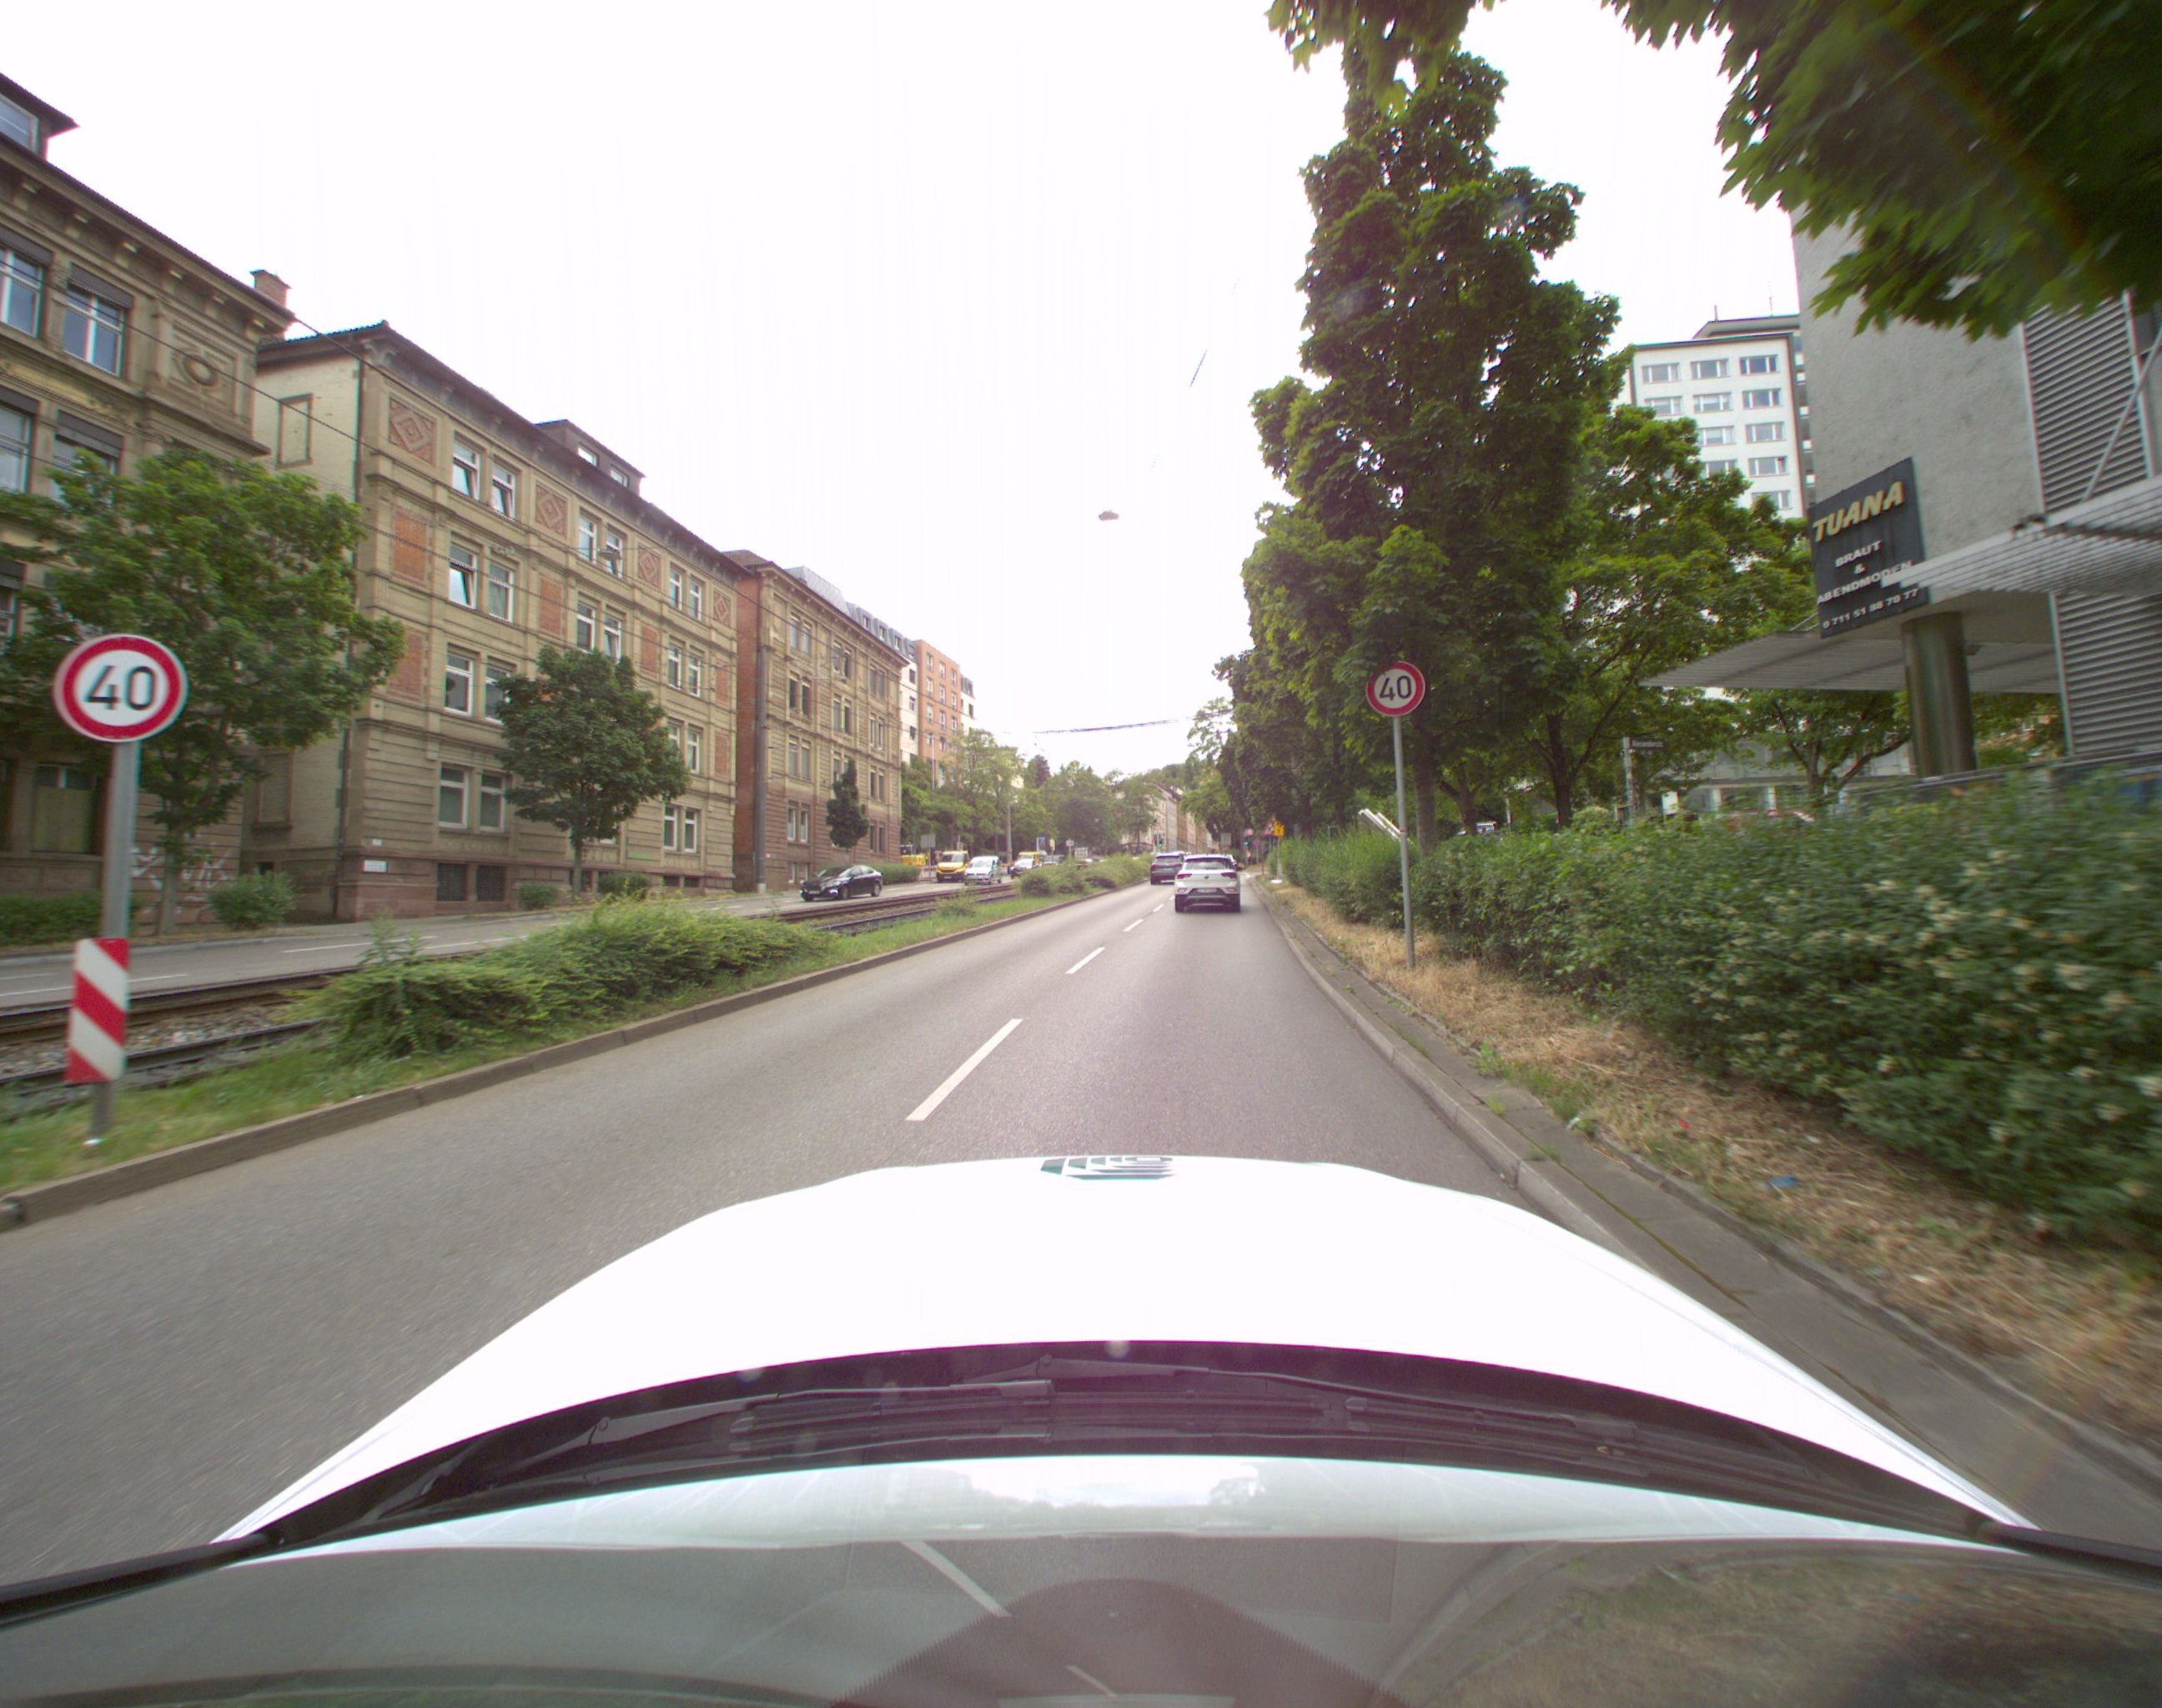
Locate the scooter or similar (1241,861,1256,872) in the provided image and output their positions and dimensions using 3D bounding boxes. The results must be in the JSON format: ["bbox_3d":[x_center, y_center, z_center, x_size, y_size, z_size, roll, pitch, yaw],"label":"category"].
[{"bbox_3d":[14.776,1.106,71.897,1.187,0.994,0.529,-2,-1,-10],"label":"scooter or similar"}]

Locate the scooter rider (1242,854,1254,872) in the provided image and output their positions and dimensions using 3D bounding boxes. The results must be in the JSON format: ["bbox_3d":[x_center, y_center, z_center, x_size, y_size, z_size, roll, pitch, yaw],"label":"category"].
[{"bbox_3d":[14.747,0.795,71.895,0.778,1.558,0.530,-2,-1,-10],"label":"scooter rider"}]

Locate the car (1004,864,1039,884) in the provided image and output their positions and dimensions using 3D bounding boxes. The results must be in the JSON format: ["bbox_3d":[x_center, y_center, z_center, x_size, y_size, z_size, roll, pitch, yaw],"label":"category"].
[{"bbox_3d":[-4.827,1.642,66.613,1.853,1.555,4.449,0,-2,10],"label":"car"}]

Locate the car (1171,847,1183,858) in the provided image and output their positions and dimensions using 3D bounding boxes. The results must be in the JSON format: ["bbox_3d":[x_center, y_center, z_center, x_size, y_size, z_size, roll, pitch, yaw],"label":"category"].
[{"bbox_3d":[18.574,-0.243,157.508,1.981,2.014,4.012,-3,-1,11],"label":"car"}]

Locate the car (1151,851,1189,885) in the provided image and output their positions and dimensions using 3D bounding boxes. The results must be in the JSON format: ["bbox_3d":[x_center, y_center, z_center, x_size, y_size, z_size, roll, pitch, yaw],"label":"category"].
[{"bbox_3d":[4.947,0.760,44.844,1.828,1.740,4.011,0,-1,10],"label":"car"}]

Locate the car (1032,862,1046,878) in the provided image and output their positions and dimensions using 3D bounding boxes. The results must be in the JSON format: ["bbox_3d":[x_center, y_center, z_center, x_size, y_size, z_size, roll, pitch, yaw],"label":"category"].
[{"bbox_3d":[-4.194,1.605,81.695,1.183,1.587,3.091,0,-1,2],"label":"car"}]

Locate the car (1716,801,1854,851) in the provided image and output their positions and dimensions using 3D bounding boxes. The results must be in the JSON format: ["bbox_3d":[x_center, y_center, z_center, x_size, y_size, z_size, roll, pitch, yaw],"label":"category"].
[{"bbox_3d":[35.862,-1.349,41.681,2.028,2.029,4.950,2,-4,-18],"label":"car"}]

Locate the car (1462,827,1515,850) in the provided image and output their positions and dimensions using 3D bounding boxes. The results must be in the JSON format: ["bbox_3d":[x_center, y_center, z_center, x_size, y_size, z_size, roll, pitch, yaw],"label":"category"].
[{"bbox_3d":[39.941,-1.488,79.879,4.111,2.014,2.002,-2,-1,3],"label":"car"}]

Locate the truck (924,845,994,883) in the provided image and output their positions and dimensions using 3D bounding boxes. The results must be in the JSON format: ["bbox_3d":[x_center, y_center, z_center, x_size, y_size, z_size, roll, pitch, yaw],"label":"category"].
[{"bbox_3d":[-8.884,0.847,60.243,2.899,2.510,7.173,-1,-3,11],"label":"truck"}]

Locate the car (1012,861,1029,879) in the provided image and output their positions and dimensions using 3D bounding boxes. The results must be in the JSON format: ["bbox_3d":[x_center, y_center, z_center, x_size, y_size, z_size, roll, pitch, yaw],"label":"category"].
[{"bbox_3d":[-5.399,1.431,73.251,1.183,1.587,3.091,0,-1,2],"label":"car"}]

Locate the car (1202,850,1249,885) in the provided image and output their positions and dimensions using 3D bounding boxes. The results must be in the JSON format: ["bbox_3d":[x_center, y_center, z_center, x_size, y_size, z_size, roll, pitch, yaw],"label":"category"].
[{"bbox_3d":[7.115,0.719,40.444,1.894,1.574,3.837,1,-3,3],"label":"car"}]

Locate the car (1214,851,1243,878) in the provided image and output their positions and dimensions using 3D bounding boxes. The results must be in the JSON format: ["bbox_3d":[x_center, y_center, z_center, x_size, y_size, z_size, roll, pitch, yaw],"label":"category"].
[{"bbox_3d":[10.911,0.815,60.339,1.982,1.624,4.009,-3,-5,9],"label":"car"}]

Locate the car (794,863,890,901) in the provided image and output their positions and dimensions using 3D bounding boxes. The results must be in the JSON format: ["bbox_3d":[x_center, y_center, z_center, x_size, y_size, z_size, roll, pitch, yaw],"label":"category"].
[{"bbox_3d":[-10.211,1.164,35.264,1.807,1.450,4.961,-4,-2,11],"label":"car"}]

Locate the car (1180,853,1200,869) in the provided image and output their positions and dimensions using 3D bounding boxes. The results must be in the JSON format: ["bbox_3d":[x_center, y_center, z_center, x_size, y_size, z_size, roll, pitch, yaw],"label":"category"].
[{"bbox_3d":[16.555,1.021,123.395,2.406,2.169,6.054,4,1,12],"label":"car"}]

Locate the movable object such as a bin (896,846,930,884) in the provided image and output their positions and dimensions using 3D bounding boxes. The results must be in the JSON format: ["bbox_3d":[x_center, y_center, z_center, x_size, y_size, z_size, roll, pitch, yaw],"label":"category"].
[{"bbox_3d":[-12.875,0.855,62.411,1.984,2.838,2.032,-2,-1,5],"label":"movable object such as a bin"}]

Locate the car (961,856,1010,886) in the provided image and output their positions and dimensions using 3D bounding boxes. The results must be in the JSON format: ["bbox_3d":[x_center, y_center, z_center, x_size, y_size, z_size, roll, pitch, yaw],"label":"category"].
[{"bbox_3d":[-6.124,1.078,52.835,1.868,1.788,4.529,-3,-1,10],"label":"car"}]

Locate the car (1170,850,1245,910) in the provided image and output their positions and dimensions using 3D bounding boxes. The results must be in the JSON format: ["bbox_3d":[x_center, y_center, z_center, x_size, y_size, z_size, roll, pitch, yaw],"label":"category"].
[{"bbox_3d":[3.670,0.726,23.310,1.926,1.567,4.057,0,-1,10],"label":"car"}]
